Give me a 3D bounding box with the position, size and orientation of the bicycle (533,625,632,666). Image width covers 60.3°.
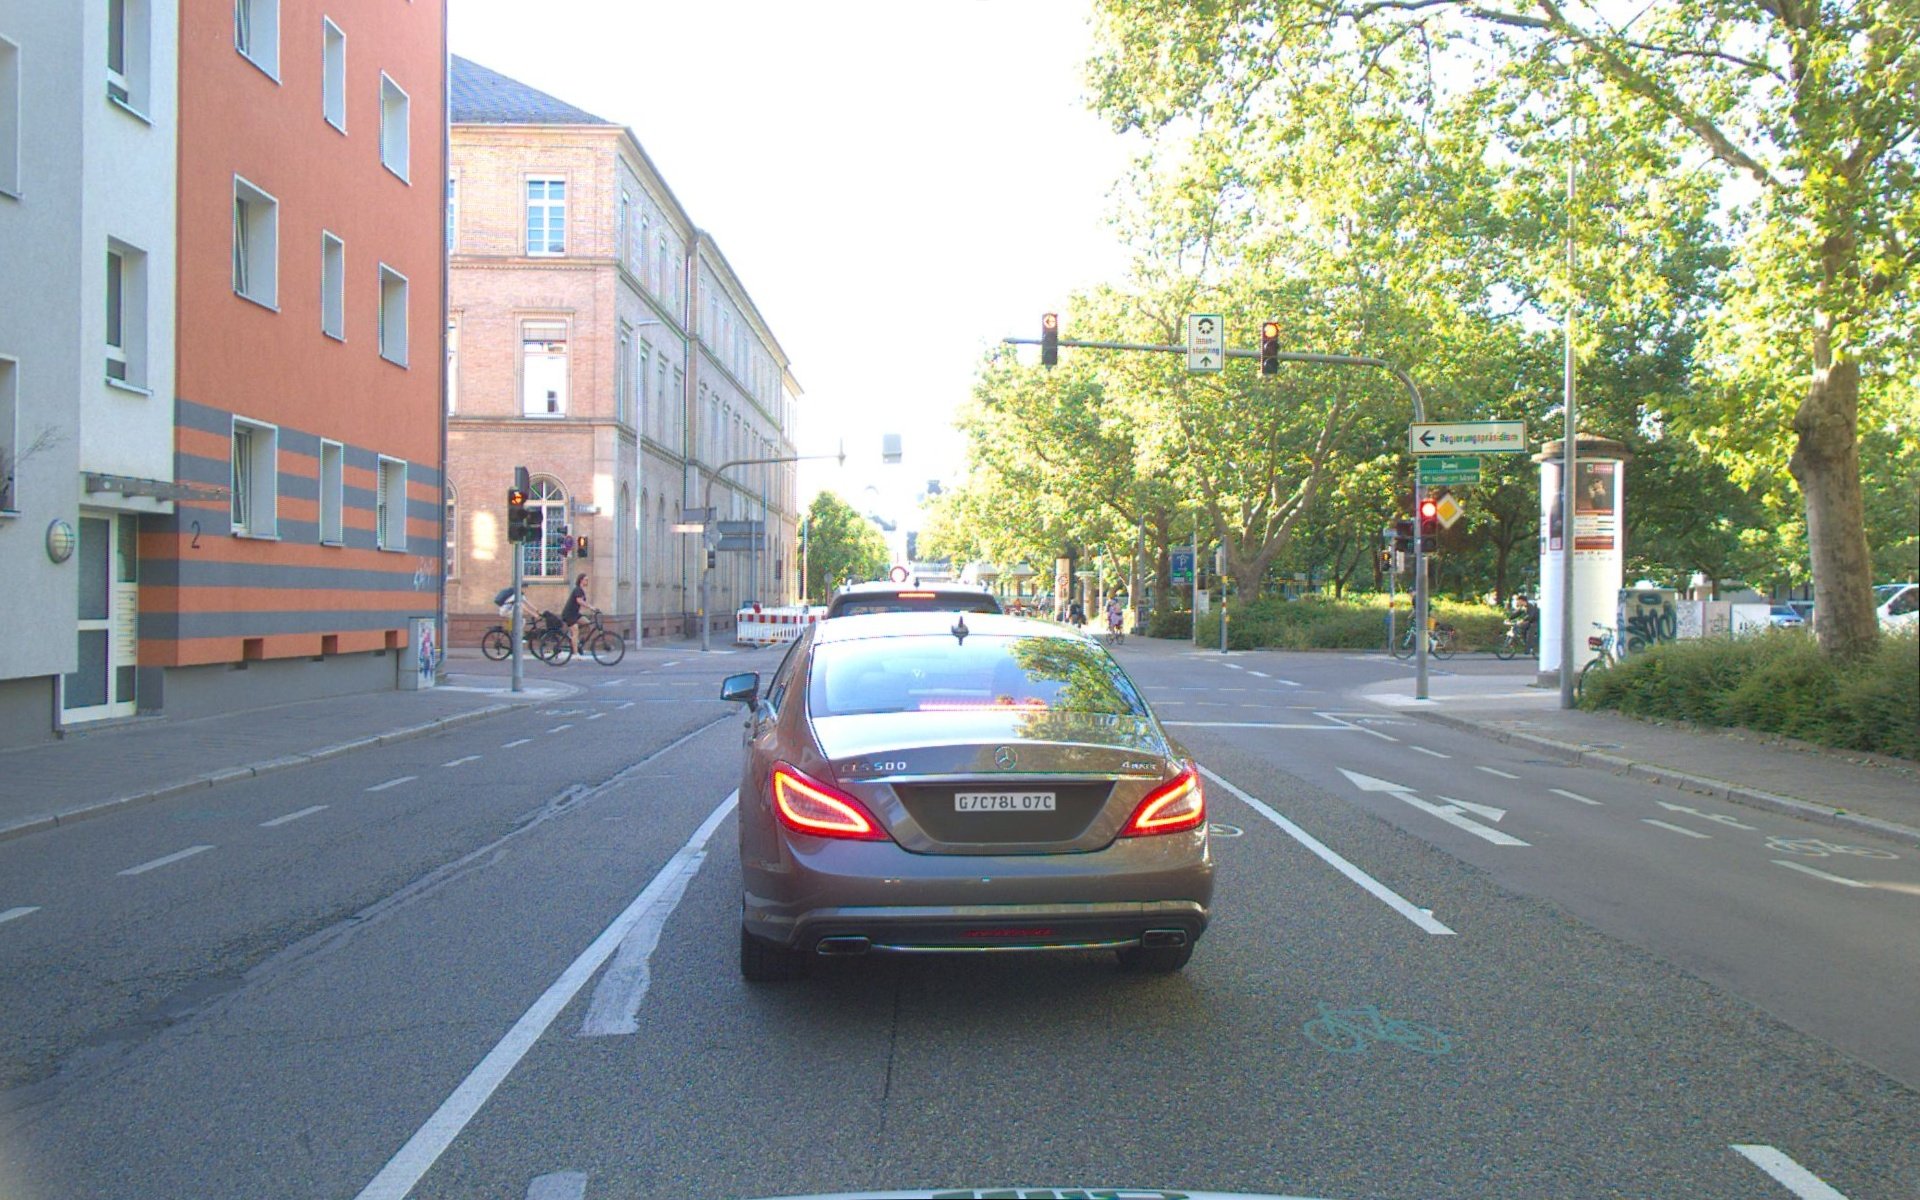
[{"bbox_3d":[-7.975,0.962,35.023,1.934,0.851,0.676,0,0,-1],"label":"bicycle"}]

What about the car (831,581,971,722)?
[{"bbox_3d":[-0.785,0.653,23.225,1.783,1.793,3.999,0,0,-1],"label":"car"}]

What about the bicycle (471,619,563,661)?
[{"bbox_3d":[-9.943,0.895,37.155,1.853,0.898,0.726,0,0,3],"label":"bicycle"}]

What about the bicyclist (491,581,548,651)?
[{"bbox_3d":[-9.899,0.360,37.158,1.052,1.546,0.717,0,0,4],"label":"bicyclist"}]

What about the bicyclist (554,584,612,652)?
[{"bbox_3d":[-7.976,0.374,35.019,1.081,1.427,0.657,0,0,-1],"label":"bicyclist"}]

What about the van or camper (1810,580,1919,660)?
[{"bbox_3d":[24.591,0.510,42.544,4.488,1.975,1.999,0,0,-4],"label":"van or camper"}]

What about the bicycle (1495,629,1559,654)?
[{"bbox_3d":[15.254,1.114,44.497,1.554,0.646,0.496,0,0,3],"label":"bicycle"}]

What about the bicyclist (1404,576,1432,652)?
[{"bbox_3d":[12.336,0.372,44.546,0.639,2.049,0.440,0,0,0],"label":"bicyclist"}]

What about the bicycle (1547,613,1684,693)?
[{"bbox_3d":[9.413,0.757,23.781,1.766,1.116,0.510,0,0,2],"label":"bicycle"}]

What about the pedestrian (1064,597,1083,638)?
[{"bbox_3d":[4.255,0.638,62.092,0.635,1.529,0.637,0,0,-1],"label":"pedestrian"}]

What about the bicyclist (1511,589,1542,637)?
[{"bbox_3d":[15.235,0.340,44.495,0.689,1.282,0.458,0,0,3],"label":"bicyclist"}]

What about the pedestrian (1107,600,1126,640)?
[{"bbox_3d":[5.844,0.736,61.618,0.635,1.458,0.659,0,0,-1],"label":"pedestrian"}]

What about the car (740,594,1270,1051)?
[{"bbox_3d":[-0.113,0.740,7.655,1.769,1.482,4.343,1,0,-8],"label":"car"}]

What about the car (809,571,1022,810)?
[{"bbox_3d":[-0.404,0.637,13.651,1.487,1.675,3.878,1,0,-3],"label":"car"}]
